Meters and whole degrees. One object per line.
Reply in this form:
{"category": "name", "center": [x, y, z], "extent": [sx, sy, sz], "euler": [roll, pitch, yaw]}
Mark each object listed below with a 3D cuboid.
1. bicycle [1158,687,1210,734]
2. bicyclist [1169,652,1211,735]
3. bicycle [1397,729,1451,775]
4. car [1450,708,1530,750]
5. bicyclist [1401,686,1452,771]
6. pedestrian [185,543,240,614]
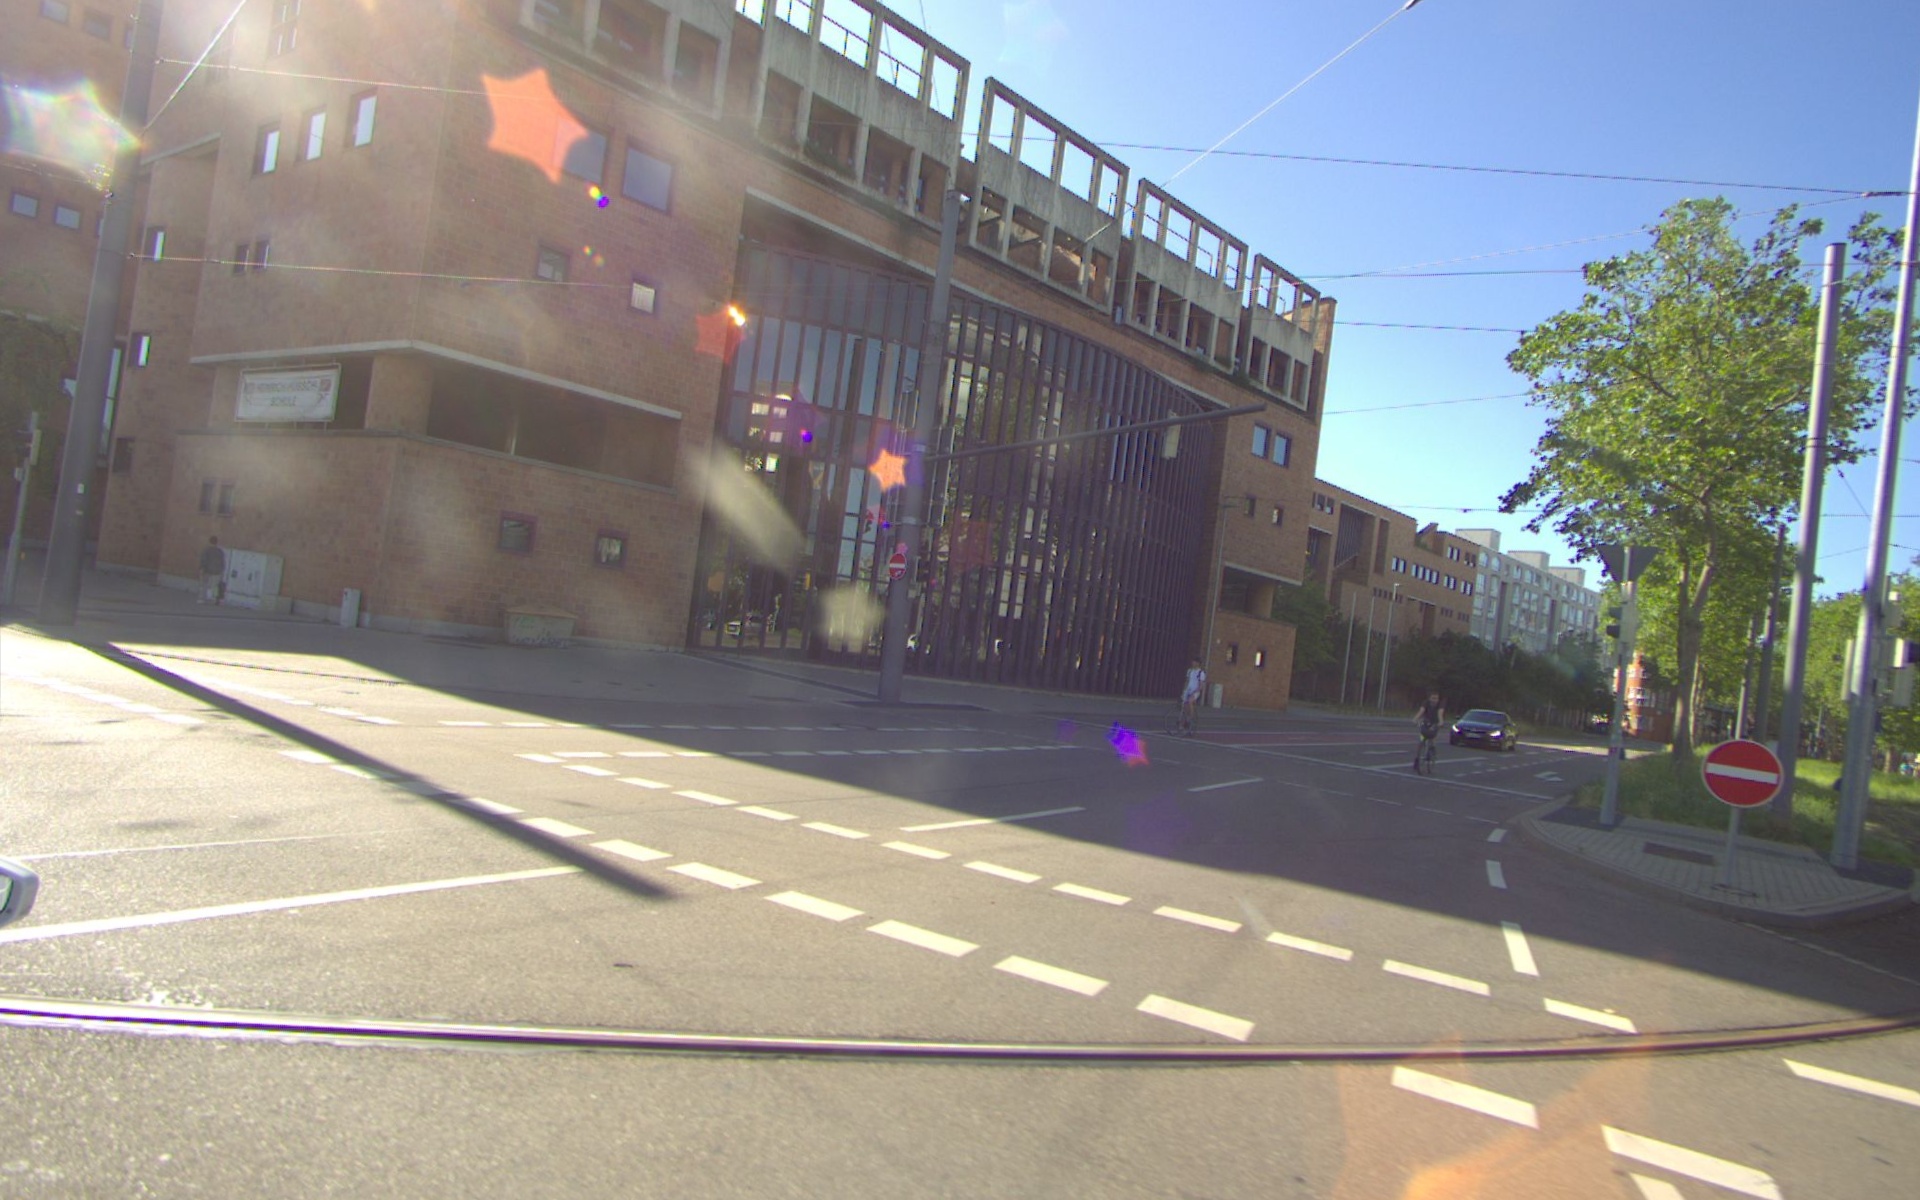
{"category": "bicycle", "center": [5.358, 2.629, 23.976], "extent": [0.662, 1.006, 1.672], "euler": [6, -2, 30]}
{"category": "bicyclist", "center": [5.524, 2.248, 24.155], "extent": [0.640, 1.906, 0.607], "euler": [6, -1, 30]}
{"category": "bicycle", "center": [9.705, 3.162, 21.014], "extent": [0.663, 0.815, 1.670], "euler": [6, -2, 36]}
{"category": "car", "center": [20.483, 5.006, 38.812], "extent": [1.715, 1.280, 3.982], "euler": [5, -3, 42]}
{"category": "bicyclist", "center": [9.722, 2.674, 20.953], "extent": [0.661, 1.649, 0.863], "euler": [6, -1, 36]}
{"category": "pedestrian", "center": [-18.145, -0.524, 24.422], "extent": [0.971, 1.581, 0.618], "euler": [6, -1, 32]}
